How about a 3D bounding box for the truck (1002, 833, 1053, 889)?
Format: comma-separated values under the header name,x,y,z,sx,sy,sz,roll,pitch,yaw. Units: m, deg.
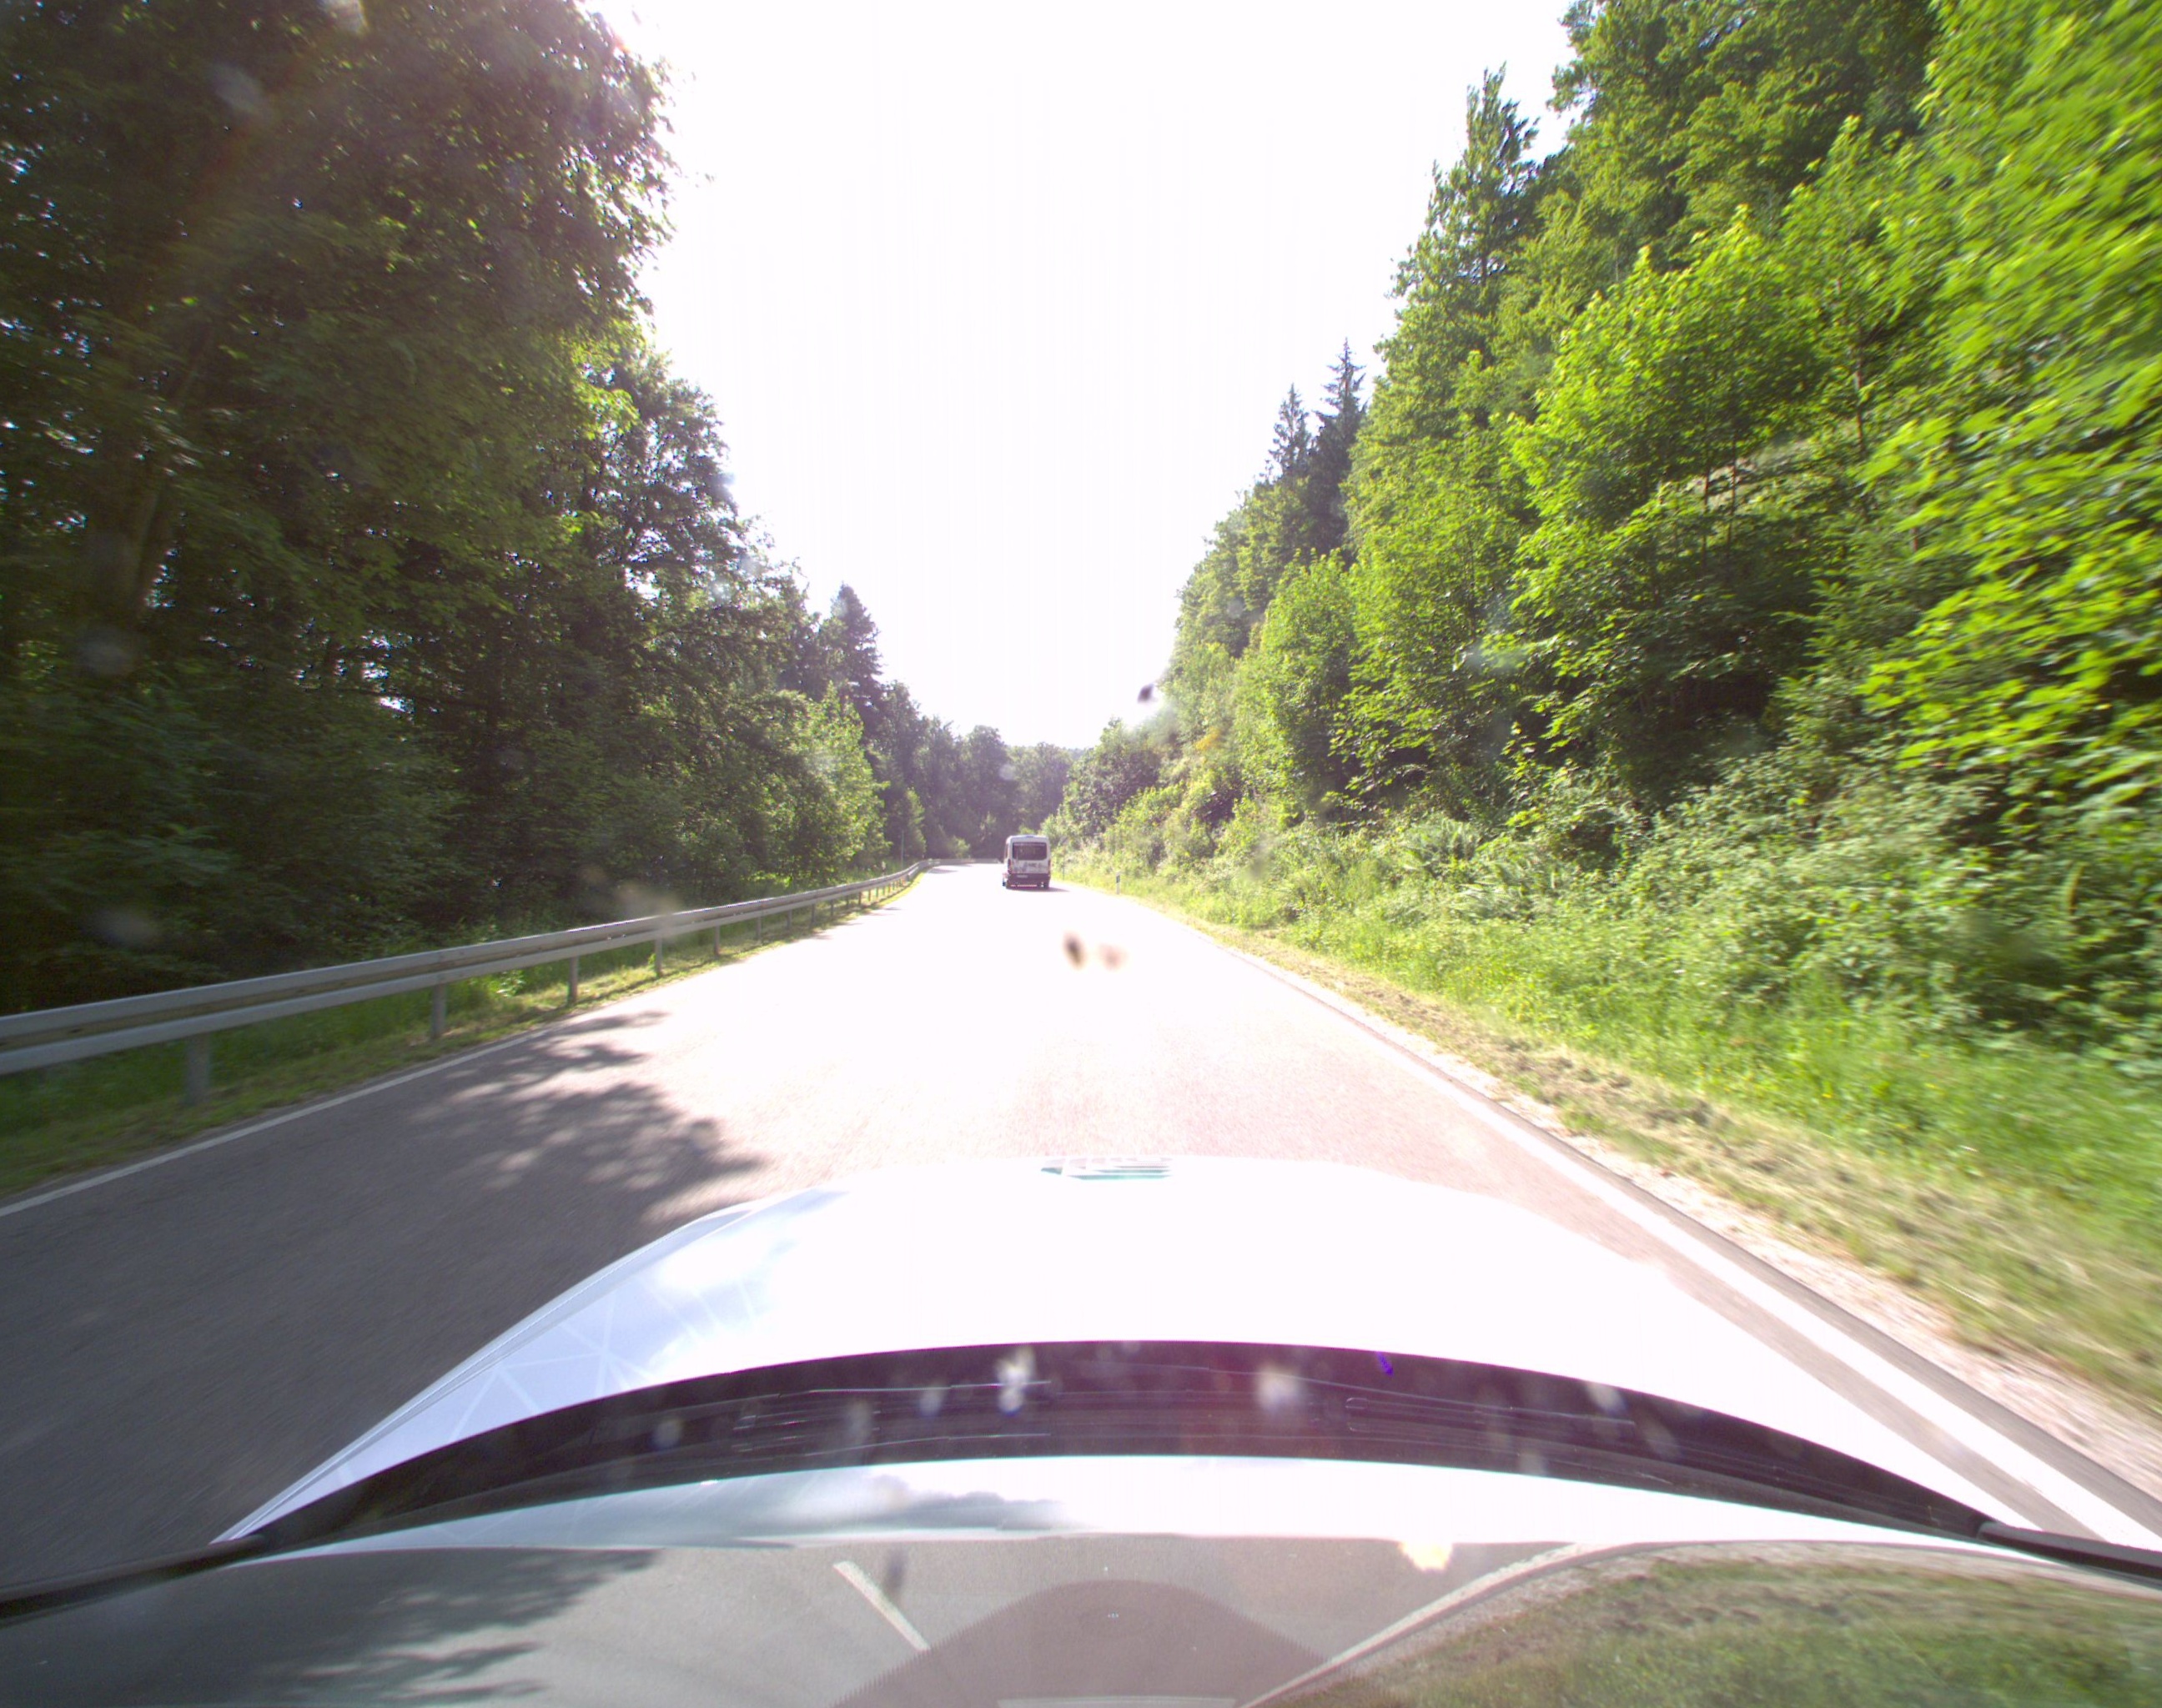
name,x,y,z,sx,sy,sz,roll,pitch,yaw
truck,-2.647,0.303,39.141,2.114,2.498,5.345,0,0,-8
